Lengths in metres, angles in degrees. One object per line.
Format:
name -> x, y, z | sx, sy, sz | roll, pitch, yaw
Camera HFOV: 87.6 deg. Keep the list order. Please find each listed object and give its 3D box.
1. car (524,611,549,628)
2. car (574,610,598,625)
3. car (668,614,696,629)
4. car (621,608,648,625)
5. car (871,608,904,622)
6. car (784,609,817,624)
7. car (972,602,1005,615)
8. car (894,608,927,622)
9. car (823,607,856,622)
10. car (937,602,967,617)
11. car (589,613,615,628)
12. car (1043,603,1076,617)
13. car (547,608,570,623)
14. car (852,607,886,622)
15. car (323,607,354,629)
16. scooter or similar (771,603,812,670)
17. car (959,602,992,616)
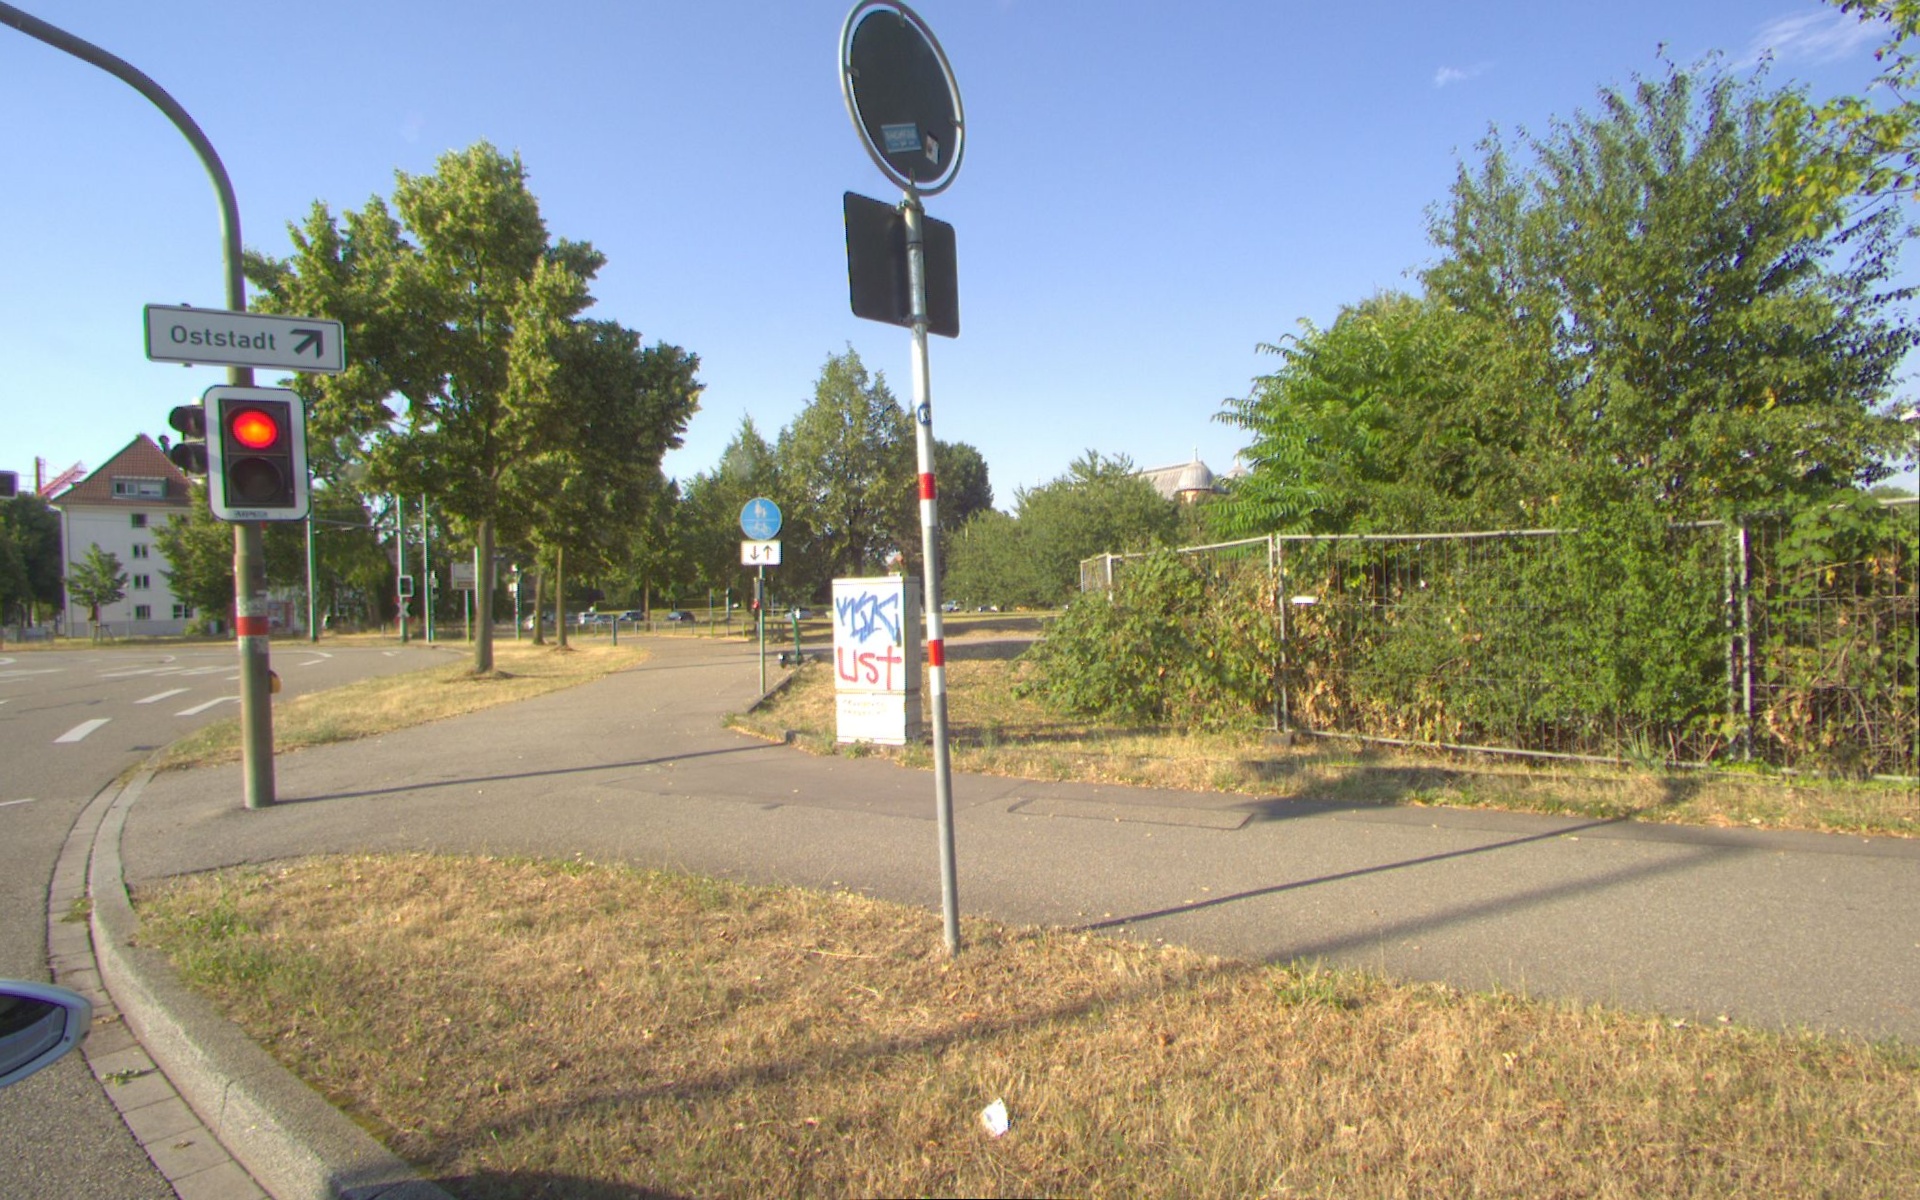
car -> -36.665, 1.697, 86.575 | 1.583, 1.420, 3.950 | -1, 0, -29
car -> -37.244, 1.777, 99.697 | 1.583, 1.420, 3.950 | -1, 0, -29
car -> -25.788, 2.014, 92.887 | 1.583, 1.327, 3.950 | -1, -1, -29
car -> -29.505, 1.492, 90.578 | 1.583, 1.420, 3.950 | -1, 0, -29
car -> -7.665, 1.574, 105.360 | 1.803, 1.421, 3.976 | -1, -1, -33
car -> -15.915, 1.680, 99.898 | 1.803, 1.421, 3.976 | -1, -1, -33
car -> 3.225, 0.964, 112.995 | 1.803, 1.421, 3.976 | -1, -1, -33
car -> -5.333, 1.646, 107.189 | 1.803, 1.421, 3.976 | -1, -1, -33
car -> -12.392, 1.475, 103.068 | 1.803, 1.421, 3.976 | -1, -1, -33
car -> -0.965, 1.166, 123.632 | 1.803, 1.694, 3.976 | -1, 0, -33
car -> -31.911, 1.824, 89.226 | 1.583, 1.237, 3.950 | -1, -1, -29
car -> 11.759, 1.142, 118.464 | 1.803, 1.590, 3.974 | -1, 1, -33
car -> -39.289, 1.507, 97.933 | 1.583, 1.420, 3.950 | -1, 0, -29
car -> -9.474, 1.556, 104.119 | 1.802, 1.421, 3.976 | -3, 1, -33
car -> -48.287, 1.421, 77.848 | 1.751, 1.639, 3.950 | -1, 0, -29
scooter or similar -> -3.224, 0.686, 19.210 | 0.336, 1.175, 1.169 | -4, 2, 8
car -> 1.680, 1.025, 111.454 | 1.803, 1.421, 3.976 | -1, -1, -33
